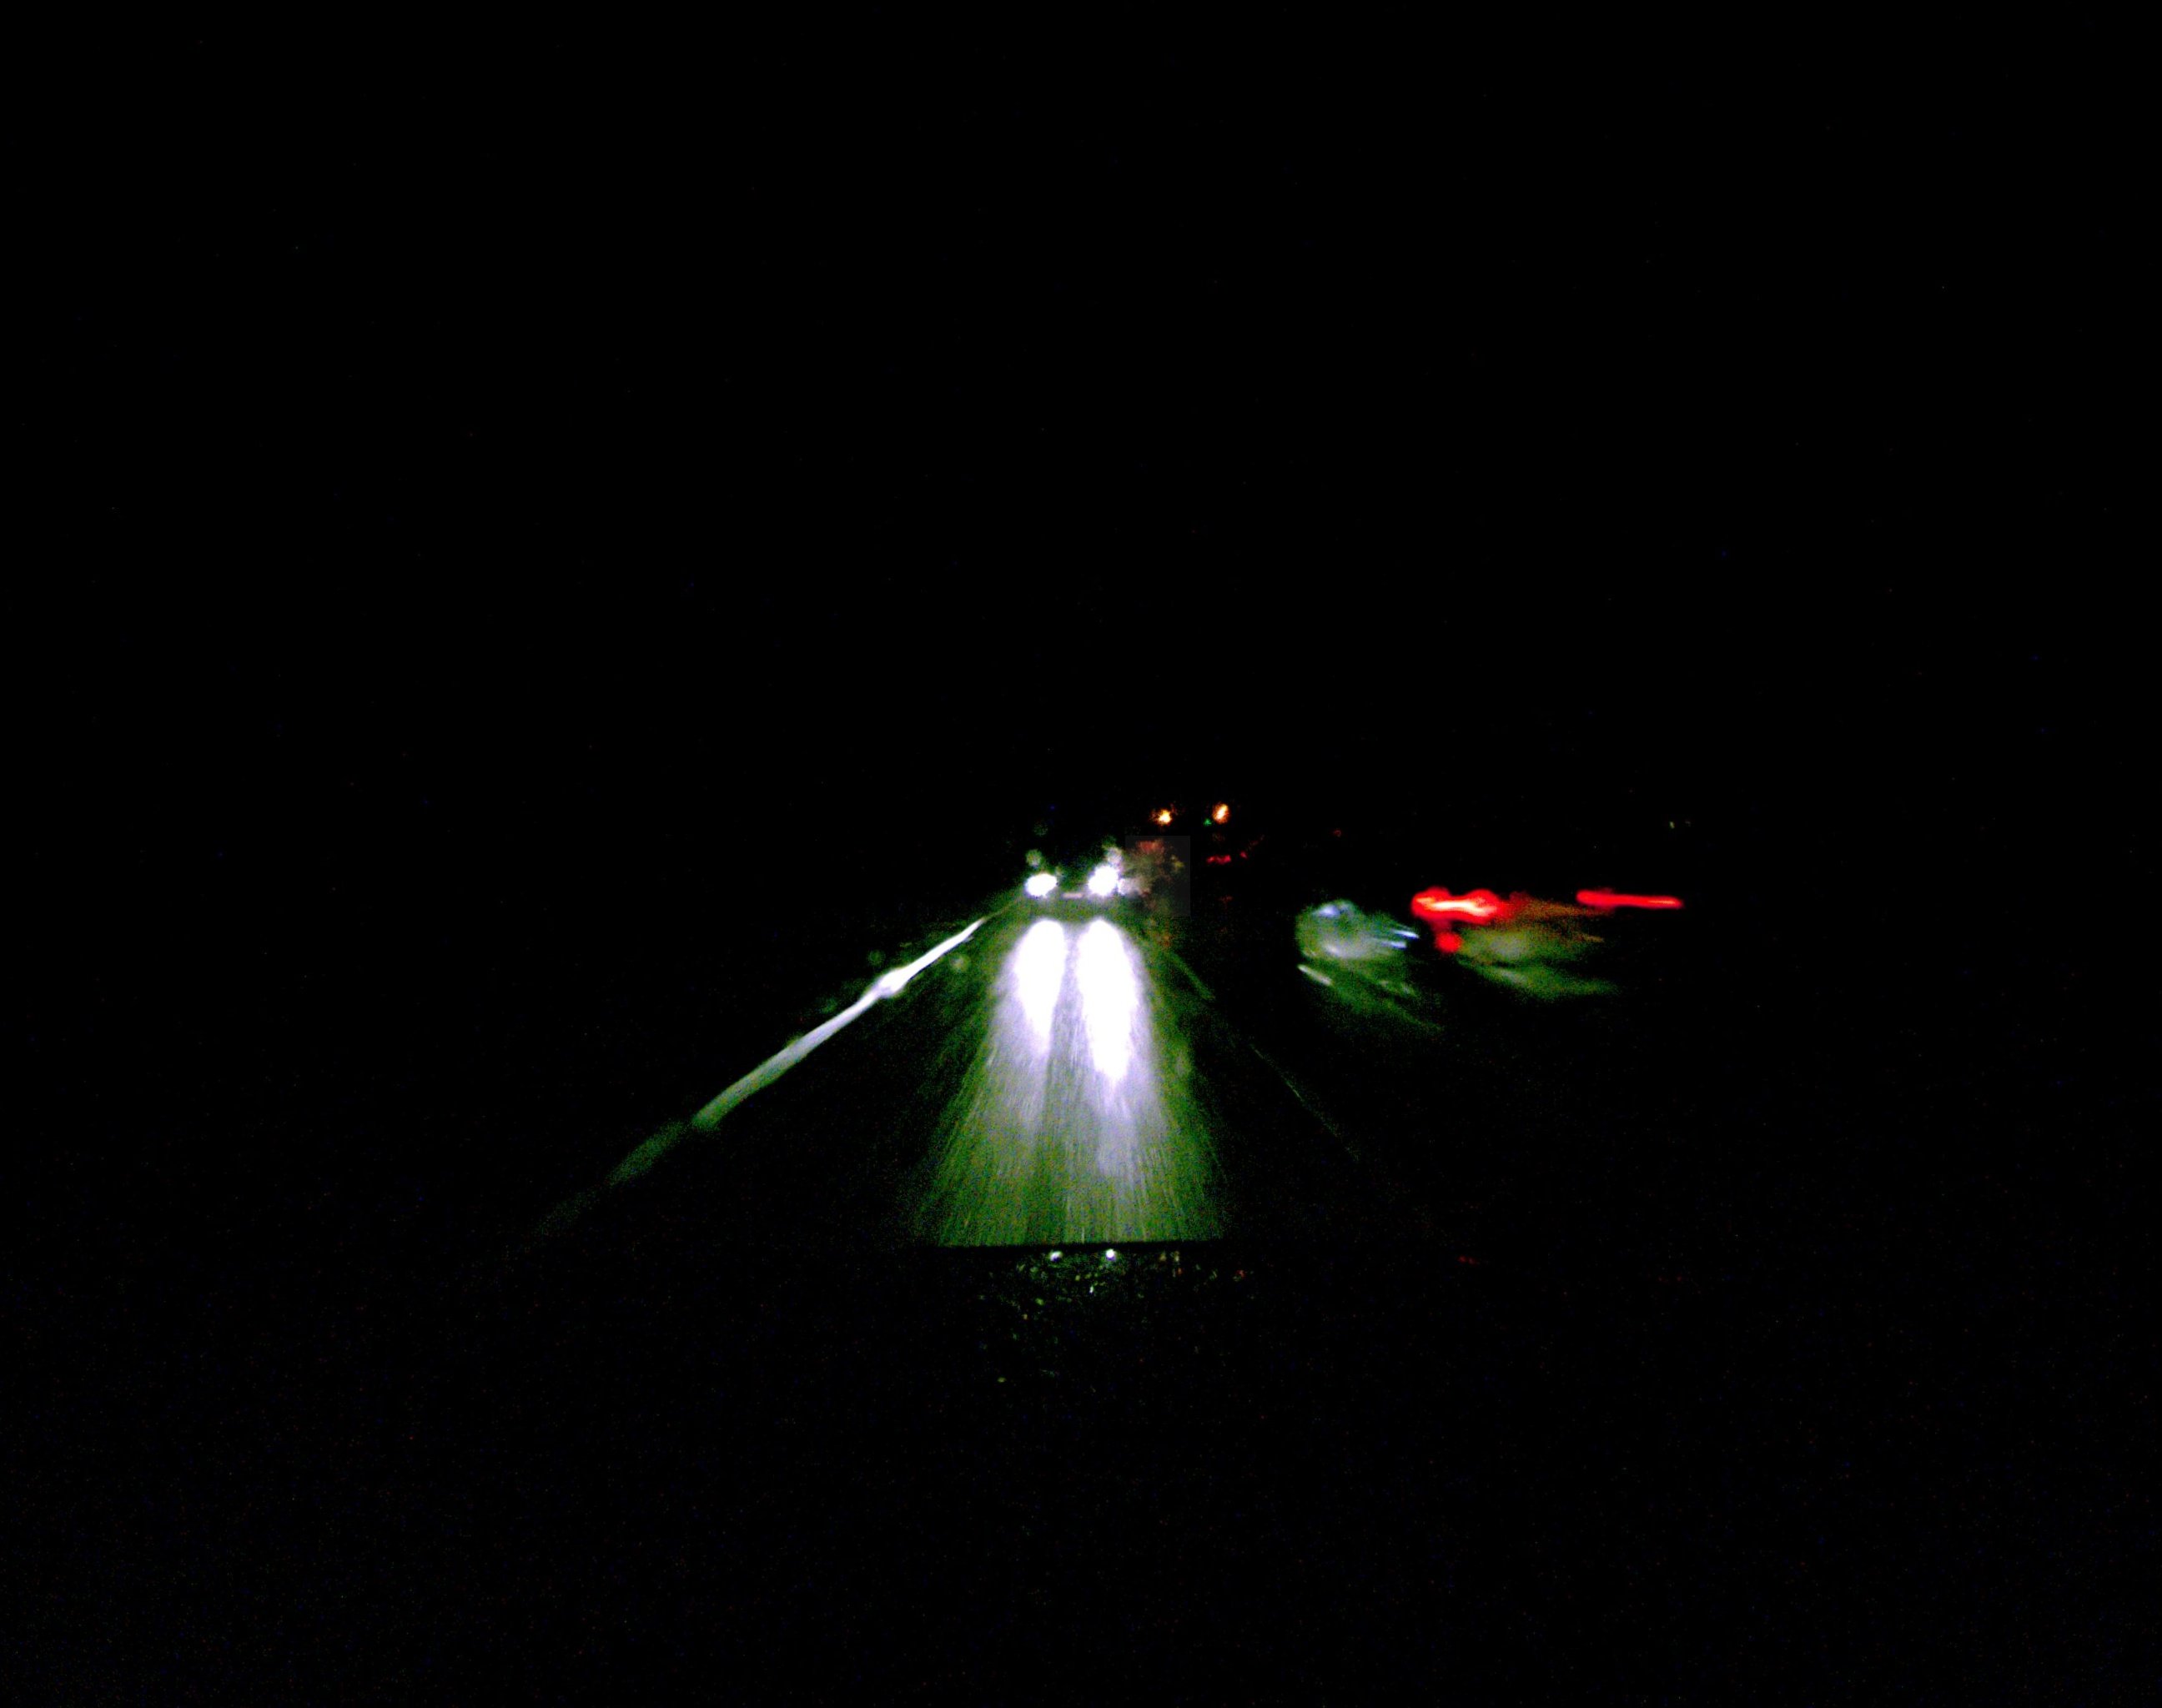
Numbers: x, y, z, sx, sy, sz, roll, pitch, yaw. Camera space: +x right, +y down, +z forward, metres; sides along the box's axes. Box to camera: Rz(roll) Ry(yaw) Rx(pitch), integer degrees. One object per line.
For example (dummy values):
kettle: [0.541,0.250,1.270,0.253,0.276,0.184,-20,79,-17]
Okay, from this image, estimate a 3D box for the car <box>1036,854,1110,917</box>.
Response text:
car: [-0.191,0.831,22.185,1.901,1.552,3.999,-2,1,1]

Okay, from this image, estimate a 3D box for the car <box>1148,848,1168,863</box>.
car: [8.415,0.142,82.509,1.900,1.552,4.002,-2,1,9]

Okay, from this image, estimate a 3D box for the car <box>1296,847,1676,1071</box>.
car: [3.433,0.748,7.315,1.645,1.605,3.731,0,0,0]
